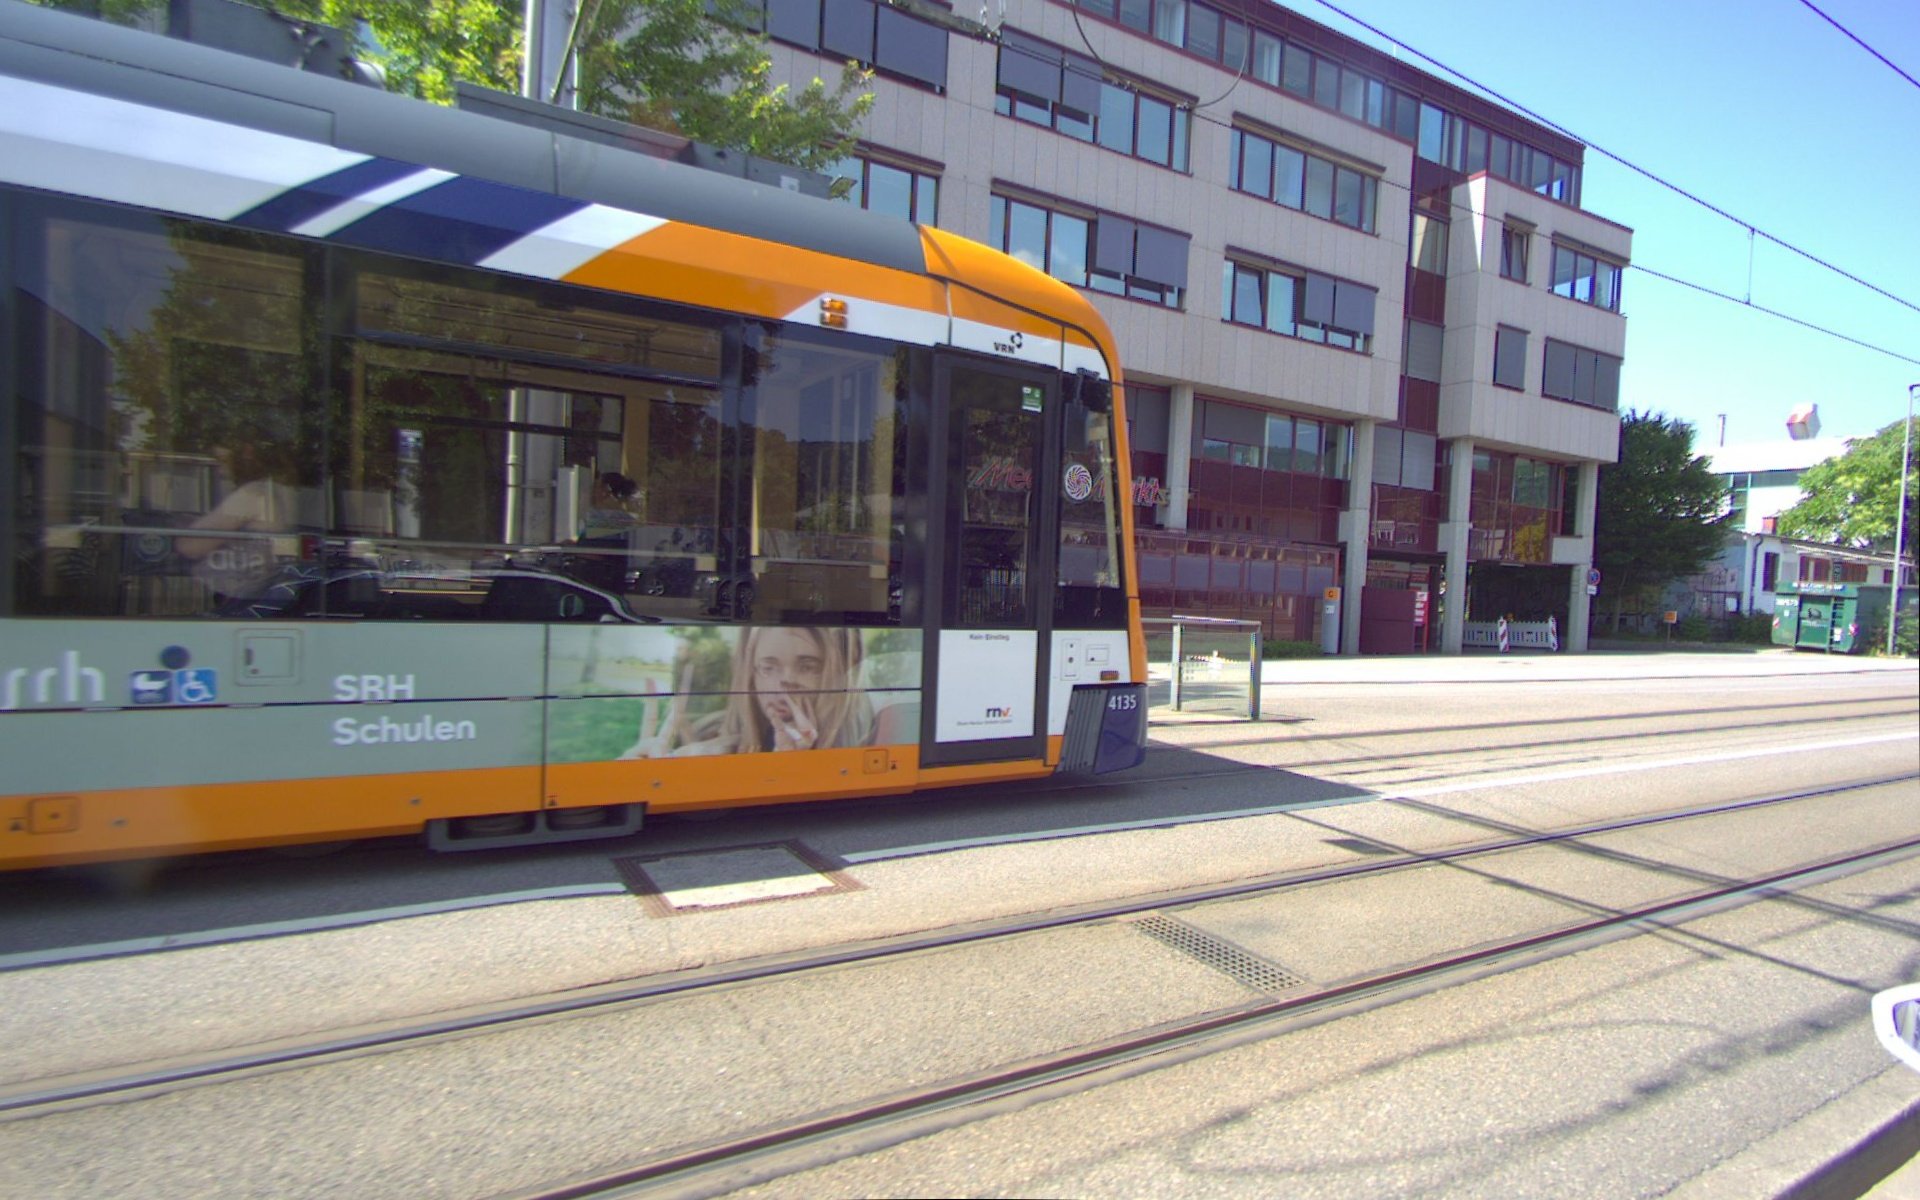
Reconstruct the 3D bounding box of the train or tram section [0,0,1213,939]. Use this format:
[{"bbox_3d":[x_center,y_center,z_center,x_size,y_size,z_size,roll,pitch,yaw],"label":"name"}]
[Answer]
[{"bbox_3d":[-1.816,-0.567,5.748,6.289,3.493,2.567,1,1,-31],"label":"train or tram section"}]
